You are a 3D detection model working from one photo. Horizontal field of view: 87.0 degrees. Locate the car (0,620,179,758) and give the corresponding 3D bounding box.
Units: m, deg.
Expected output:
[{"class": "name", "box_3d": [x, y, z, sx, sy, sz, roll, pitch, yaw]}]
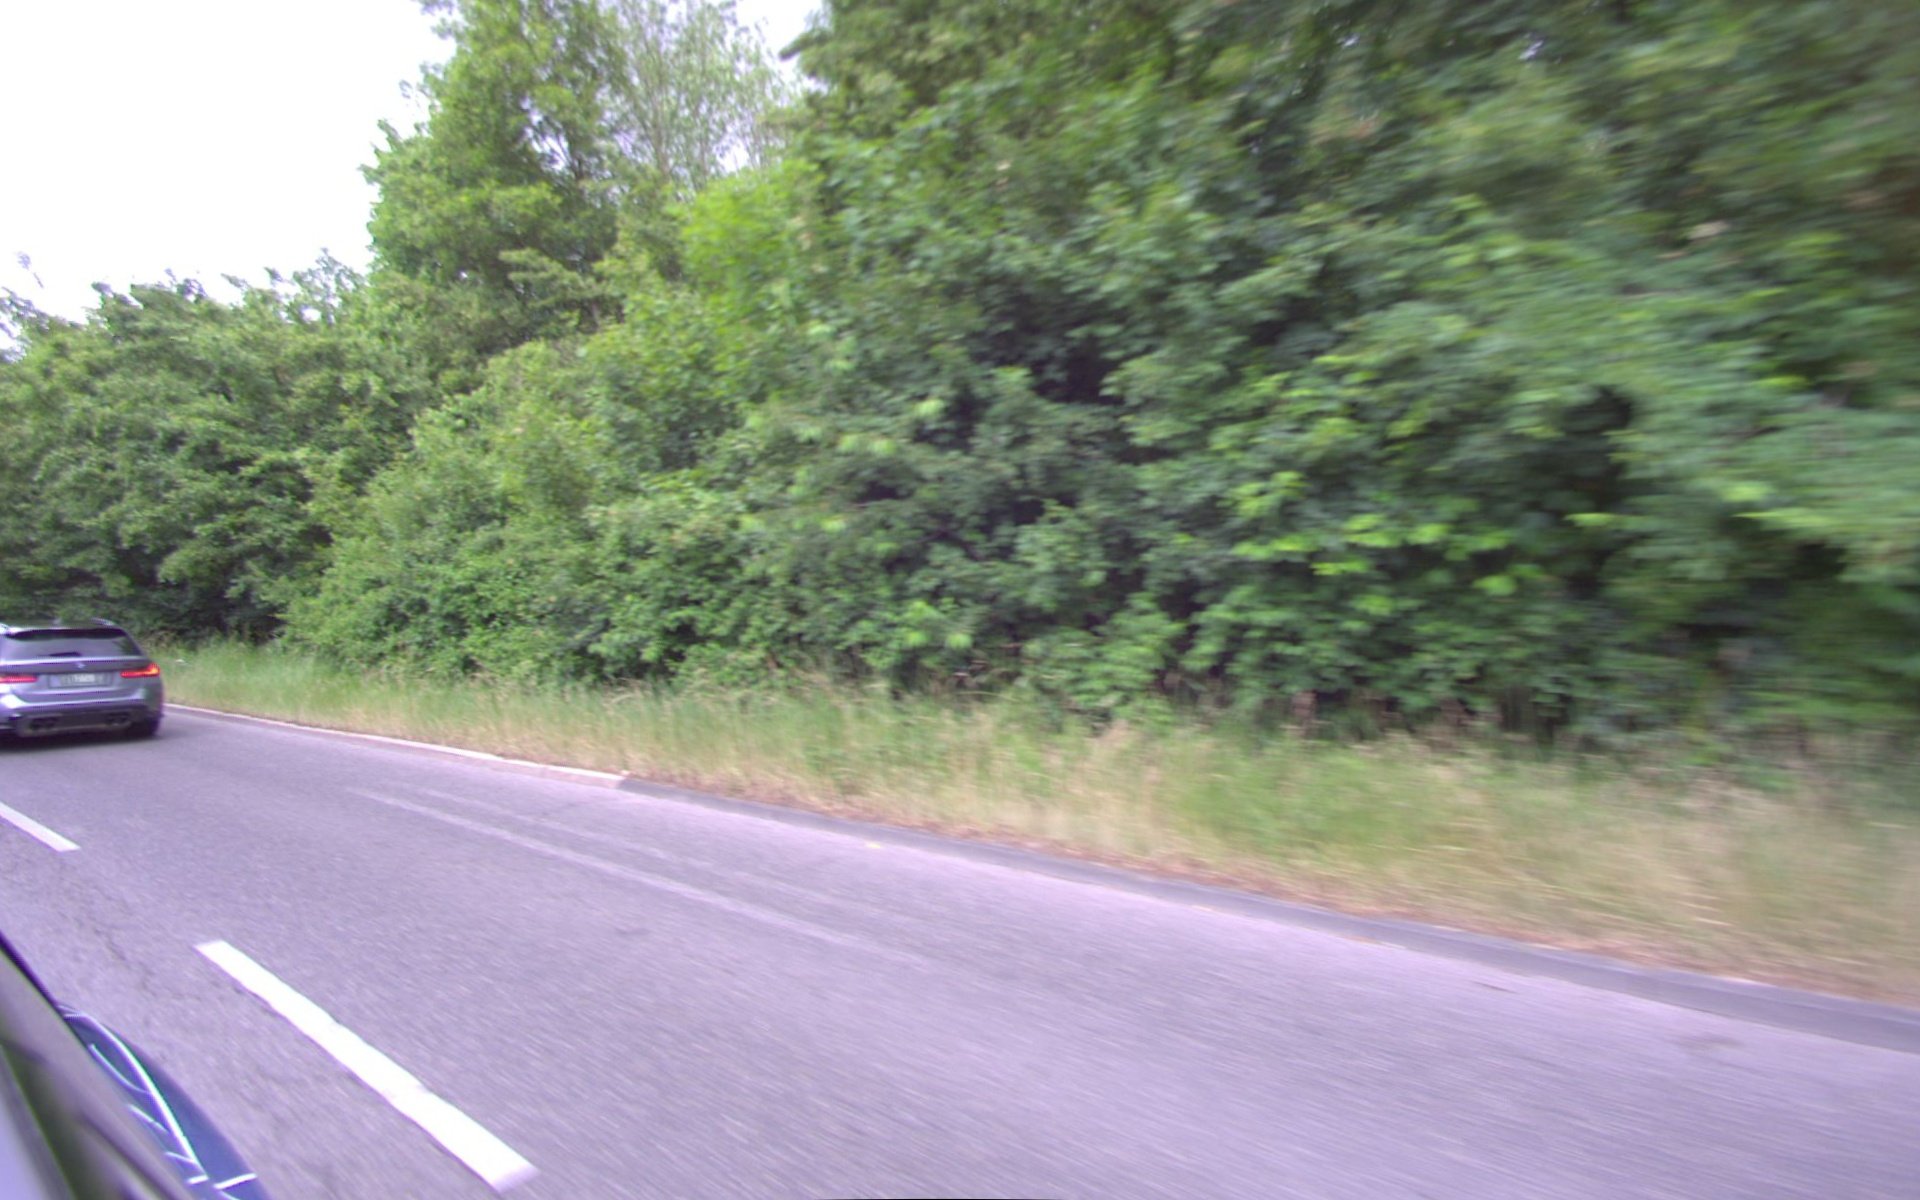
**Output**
[{"class": "car", "box_3d": [-11.749, 0.989, 12.677, 4.834, 1.364, 1.881, 0, 1, 37]}]
